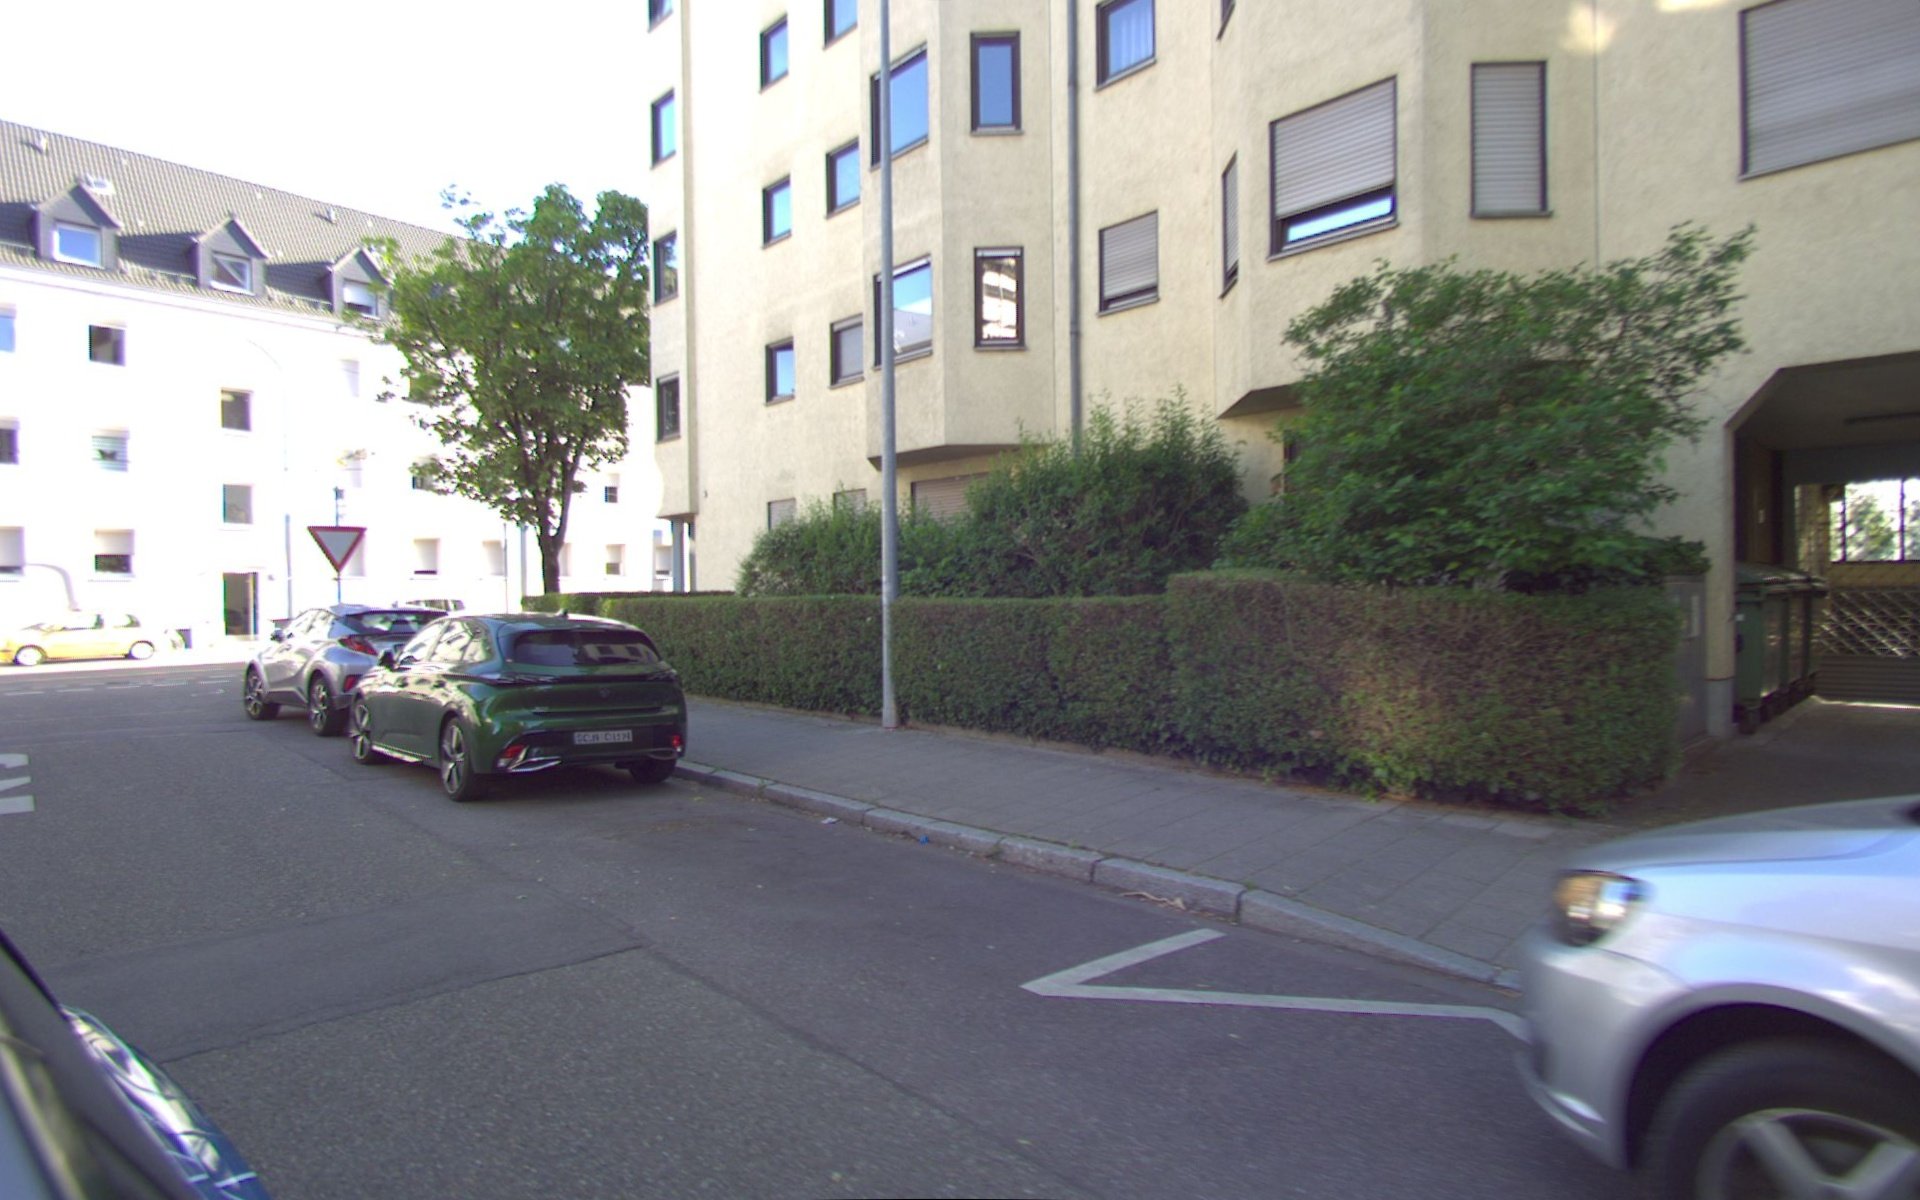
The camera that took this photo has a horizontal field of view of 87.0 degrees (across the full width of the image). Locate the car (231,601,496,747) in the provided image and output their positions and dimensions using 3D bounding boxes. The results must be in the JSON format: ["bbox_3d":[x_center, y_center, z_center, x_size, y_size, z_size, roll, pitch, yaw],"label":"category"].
[{"bbox_3d":[-7.685,0.828,12.891,4.072,1.567,1.701,-1,-2,41],"label":"car"}]

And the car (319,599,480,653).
[{"bbox_3d":[-18.575,0.817,33.668,1.997,1.569,4.232,-1,1,37],"label":"car"}]

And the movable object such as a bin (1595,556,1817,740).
[{"bbox_3d":[6.642,0.367,9.006,1.455,1.442,1.344,-3,2,-43],"label":"movable object such as a bin"}]

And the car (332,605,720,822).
[{"bbox_3d":[-4.022,0.826,8.981,1.745,1.464,4.210,3,-3,-44],"label":"car"}]

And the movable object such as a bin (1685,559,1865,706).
[{"bbox_3d":[8.832,0.311,10.964,1.327,1.442,1.344,-3,2,-43],"label":"movable object such as a bin"}]

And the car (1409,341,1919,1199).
[{"bbox_3d":[2.987,0.488,1.095,1.746,1.857,4.430,1,-1,-28],"label":"car"}]

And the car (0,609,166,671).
[{"bbox_3d":[-23.726,1.014,27.150,1.552,1.459,3.567,0,1,38],"label":"car"}]

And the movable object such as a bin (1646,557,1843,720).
[{"bbox_3d":[7.739,0.328,9.986,1.327,1.442,1.344,-3,2,-43],"label":"movable object such as a bin"}]
